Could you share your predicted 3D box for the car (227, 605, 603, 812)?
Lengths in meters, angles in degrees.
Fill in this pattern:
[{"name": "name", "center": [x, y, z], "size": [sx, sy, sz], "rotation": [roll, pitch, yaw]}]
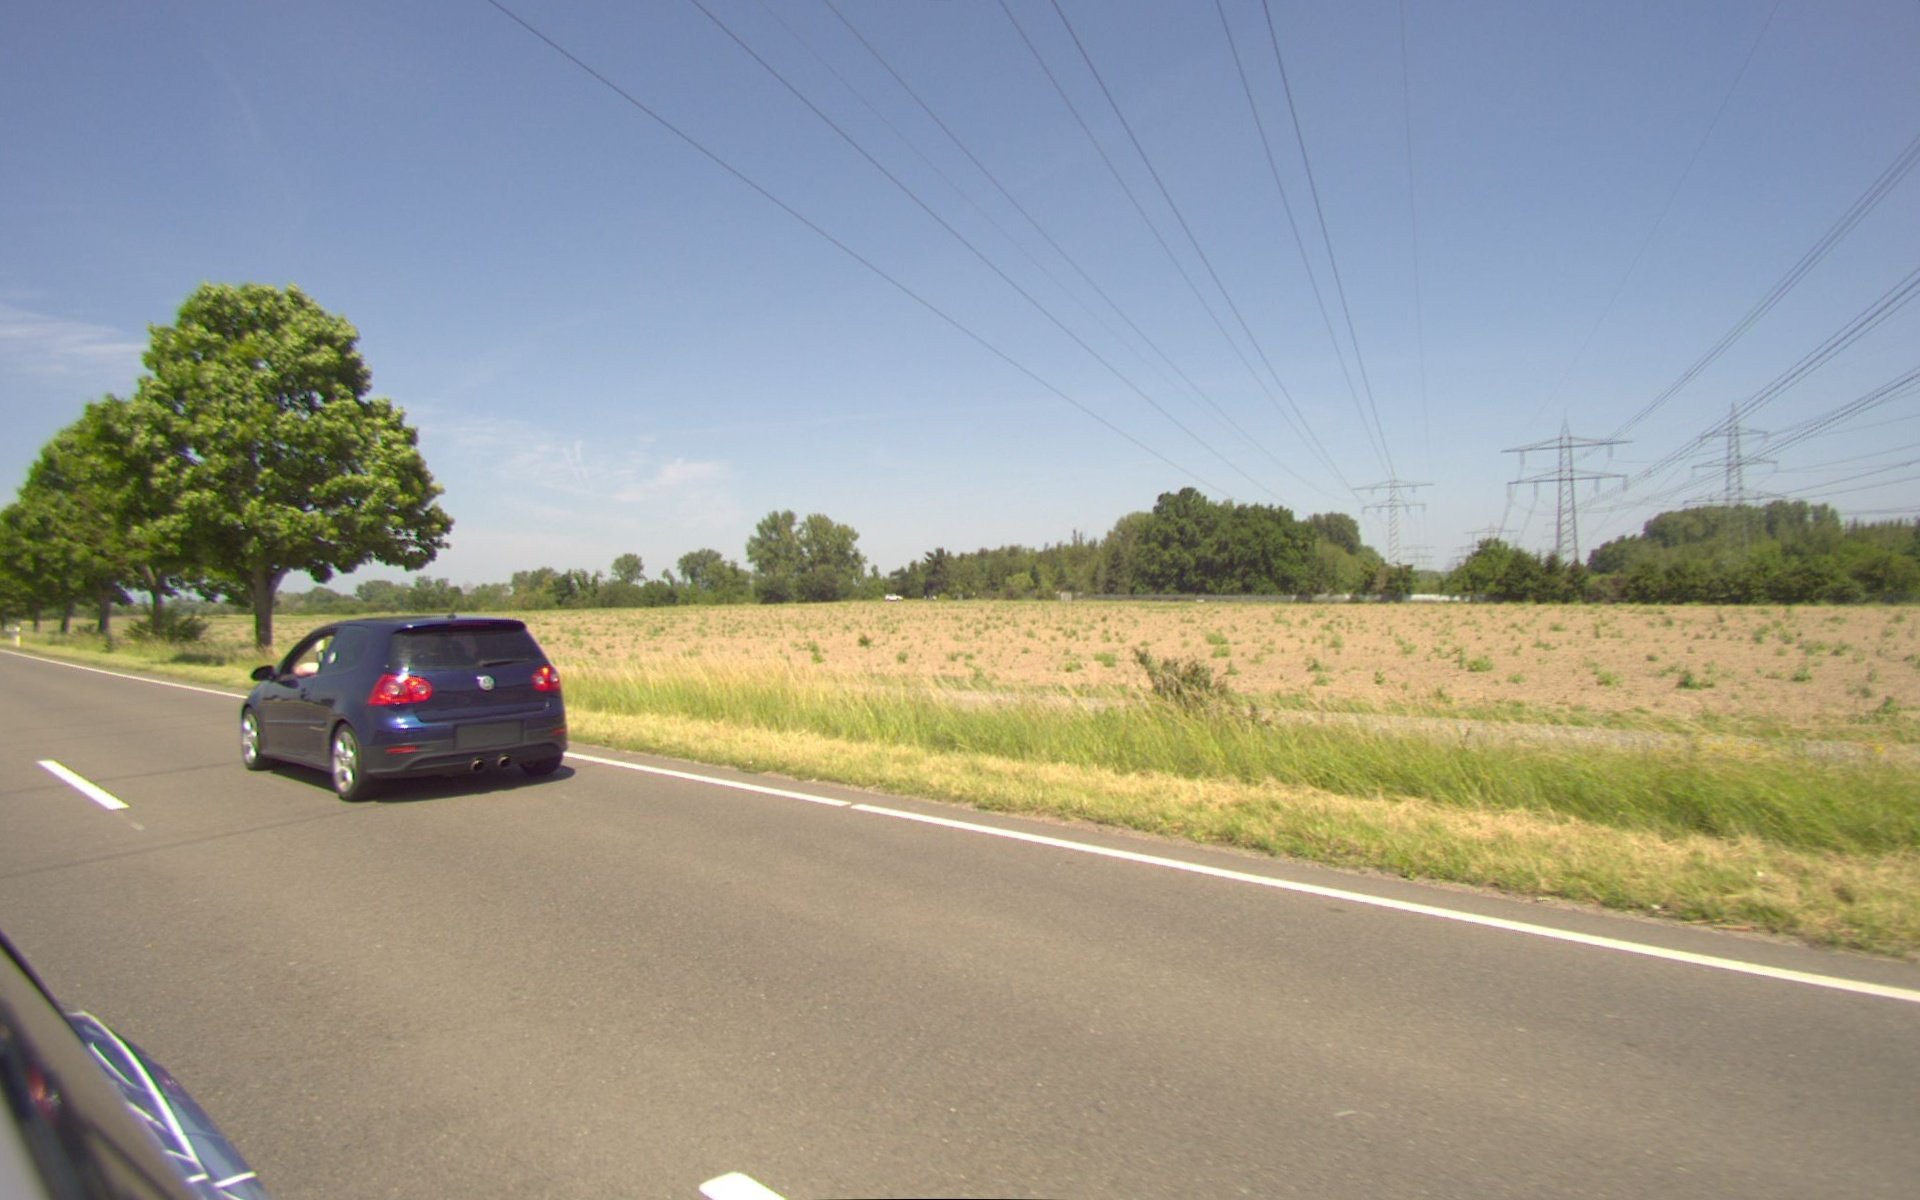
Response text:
[{"name": "car", "center": [-5.075, 0.801, 9.194], "size": [3.998, 1.458, 1.716], "rotation": [-1, 0, 41]}]
